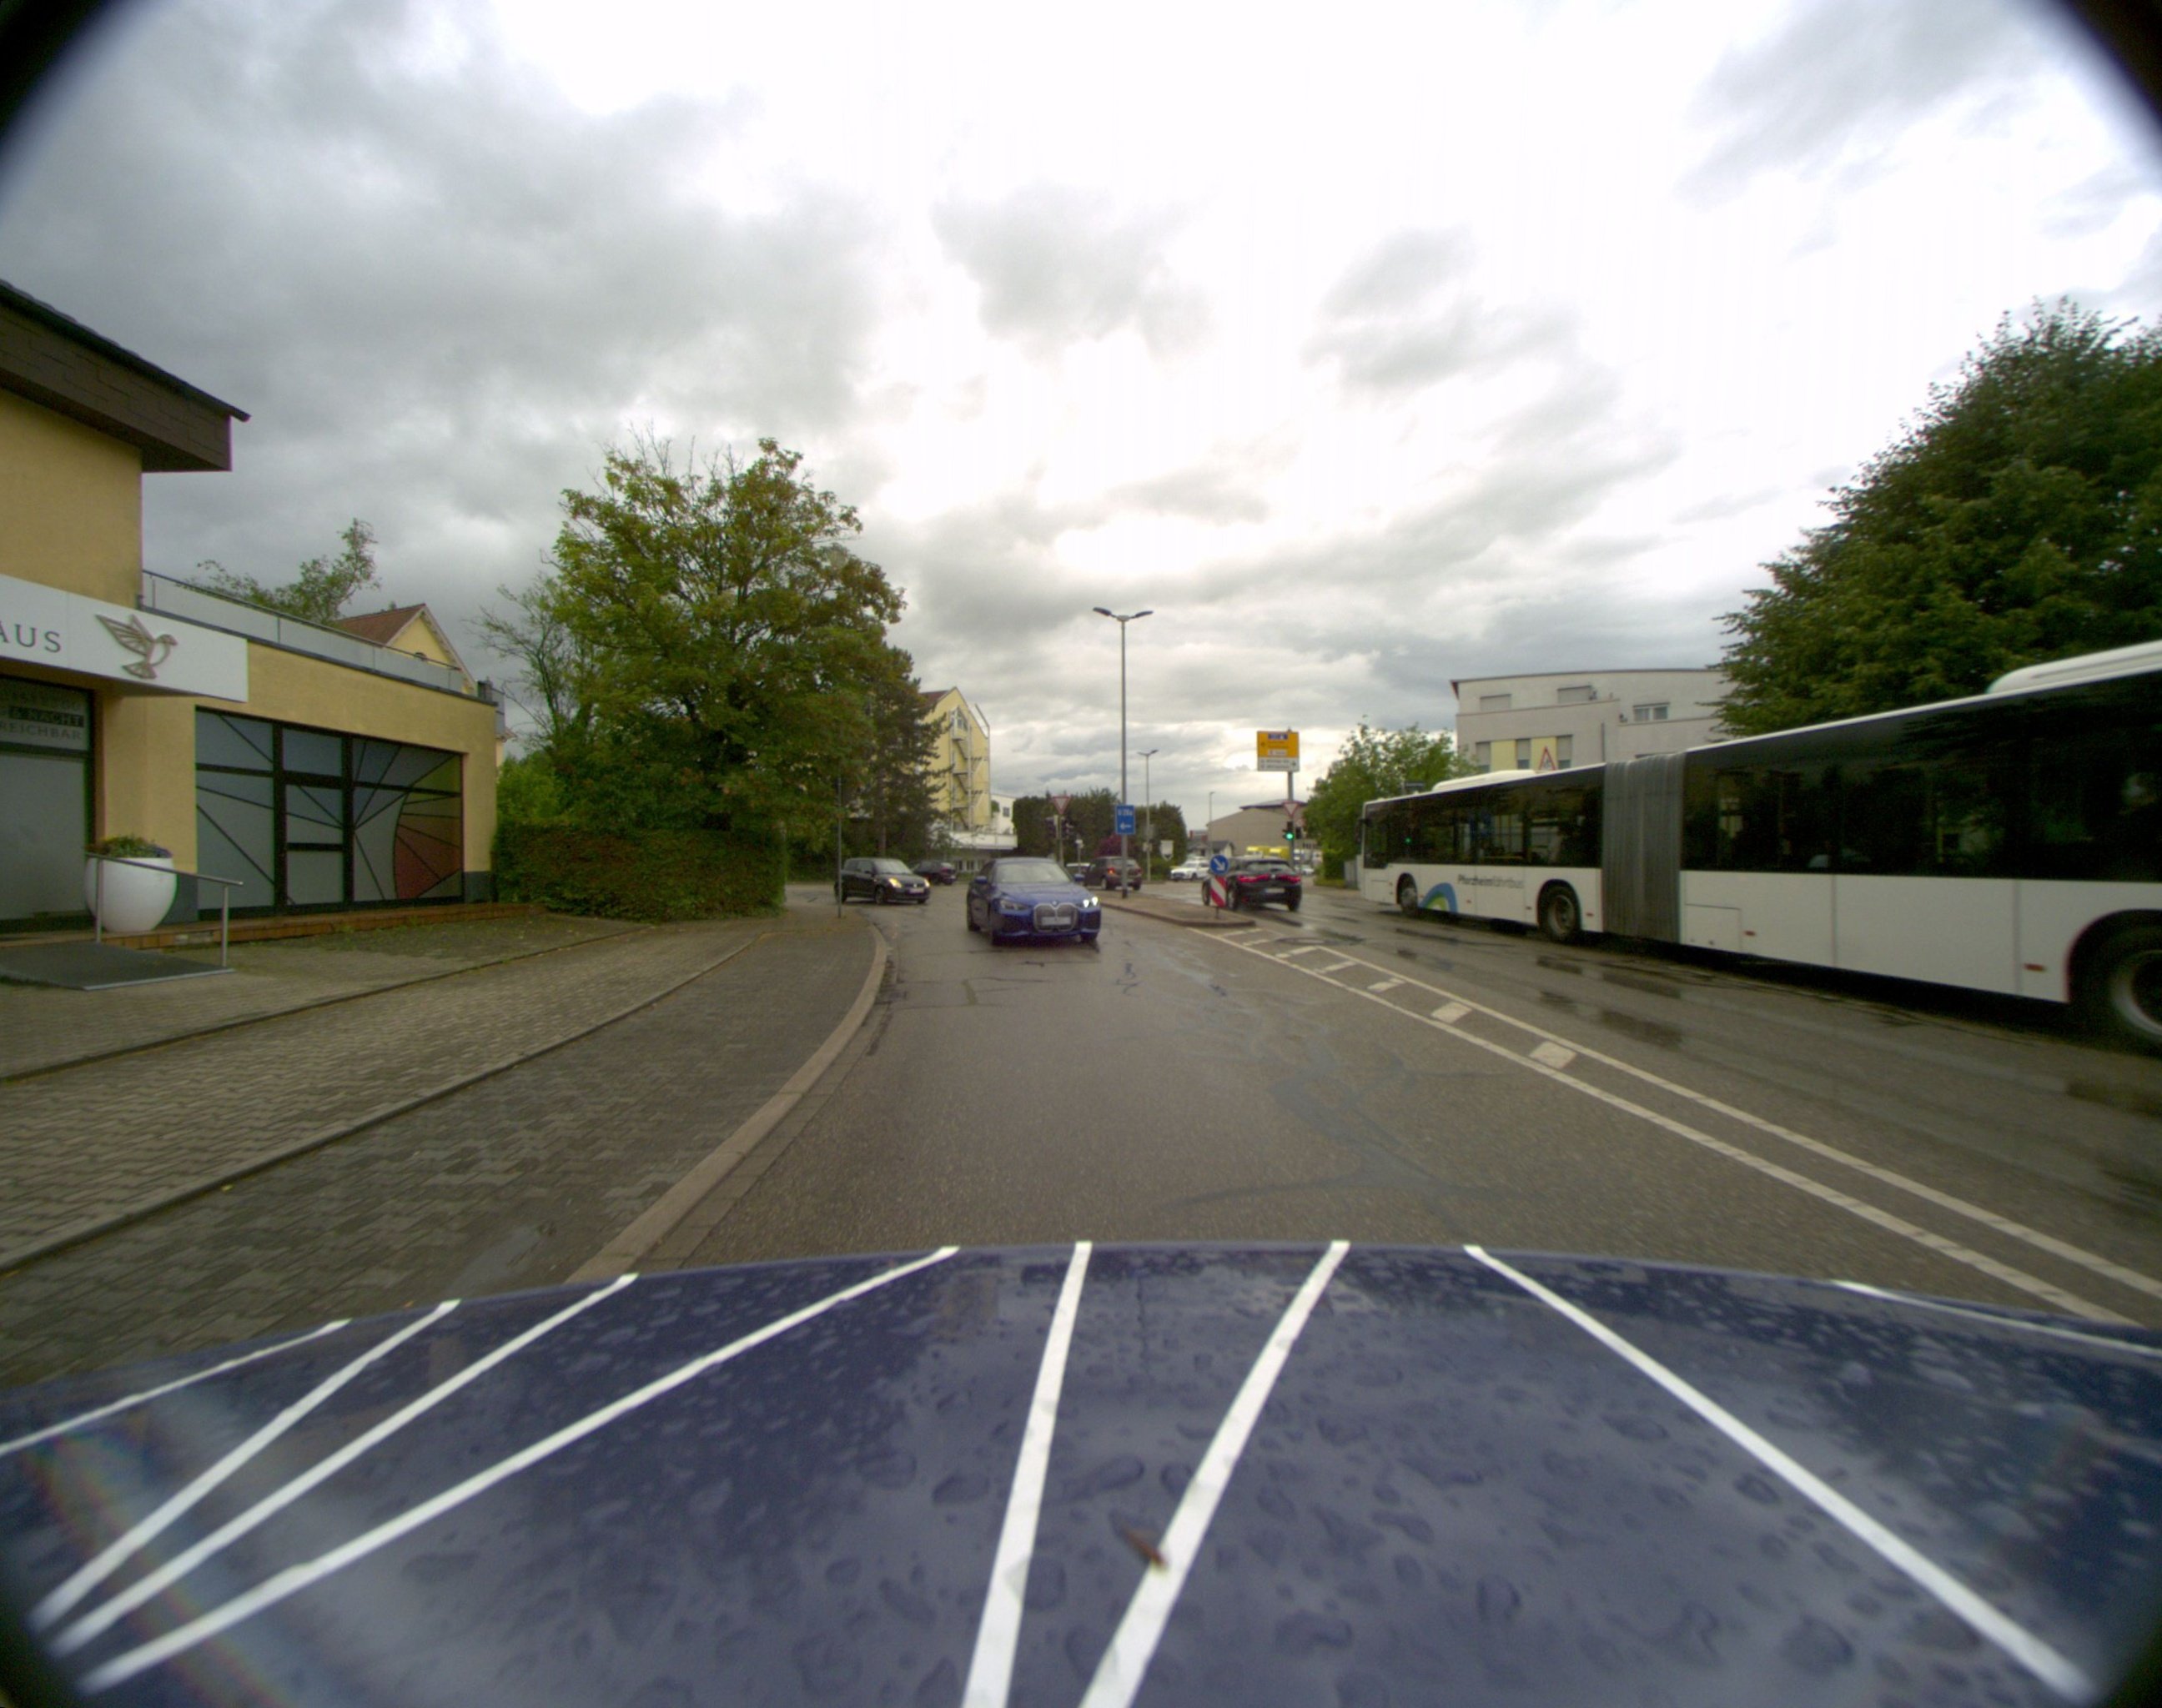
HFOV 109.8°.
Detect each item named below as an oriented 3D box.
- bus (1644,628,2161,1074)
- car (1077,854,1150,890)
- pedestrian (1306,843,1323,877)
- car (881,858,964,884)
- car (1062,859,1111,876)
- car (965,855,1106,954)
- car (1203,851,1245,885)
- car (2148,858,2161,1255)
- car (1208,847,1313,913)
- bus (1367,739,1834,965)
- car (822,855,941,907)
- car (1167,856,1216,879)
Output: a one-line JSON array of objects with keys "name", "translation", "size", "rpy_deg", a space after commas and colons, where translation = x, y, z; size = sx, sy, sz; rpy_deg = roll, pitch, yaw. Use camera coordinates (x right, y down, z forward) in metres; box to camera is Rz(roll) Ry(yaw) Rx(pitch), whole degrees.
[{"name": "bus", "translation": [8.561, -0.010, 5.803], "size": [2.591, 2.982, 8.407], "rpy_deg": [1, 0, 3]}, {"name": "car", "translation": [1.409, 0.756, 34.527], "size": [1.831, 1.478, 3.929], "rpy_deg": [-1, 1, -22]}, {"name": "pedestrian", "translation": [13.936, 0.381, 45.380], "size": [0.847, 2.002, 0.803], "rpy_deg": [-1, 0, 24]}, {"name": "car", "translation": [-8.893, 0.924, 42.737], "size": [4.195, 1.400, 1.824], "rpy_deg": [0, 0, 14]}, {"name": "car", "translation": [0.484, 1.175, 67.619], "size": [3.988, 1.455, 2.004], "rpy_deg": [0, 1, 41]}, {"name": "car", "translation": [-1.046, 0.821, 14.617], "size": [1.915, 1.487, 4.343], "rpy_deg": [-2, 1, -14]}, {"name": "car", "translation": [8.163, 0.739, 43.175], "size": [1.950, 1.715, 4.605], "rpy_deg": [-2, 1, 15]}, {"name": "car", "translation": [4.818, 0.793, 0.688], "size": [1.863, 1.509, 4.294], "rpy_deg": [0, 1, 6]}, {"name": "car", "translation": [4.787, 0.620, 20.927], "size": [1.955, 1.511, 4.172], "rpy_deg": [0, 2, 1]}, {"name": "bus", "translation": [8.659, -0.021, 14.726], "size": [2.553, 2.982, 9.202], "rpy_deg": [1, 0, -1]}, {"name": "car", "translation": [-6.619, 0.828, 25.065], "size": [3.988, 1.511, 1.750], "rpy_deg": [0, 3, 40]}, {"name": "car", "translation": [8.759, 1.035, 59.873], "size": [1.994, 1.630, 4.008], "rpy_deg": [0, 1, 40]}]
